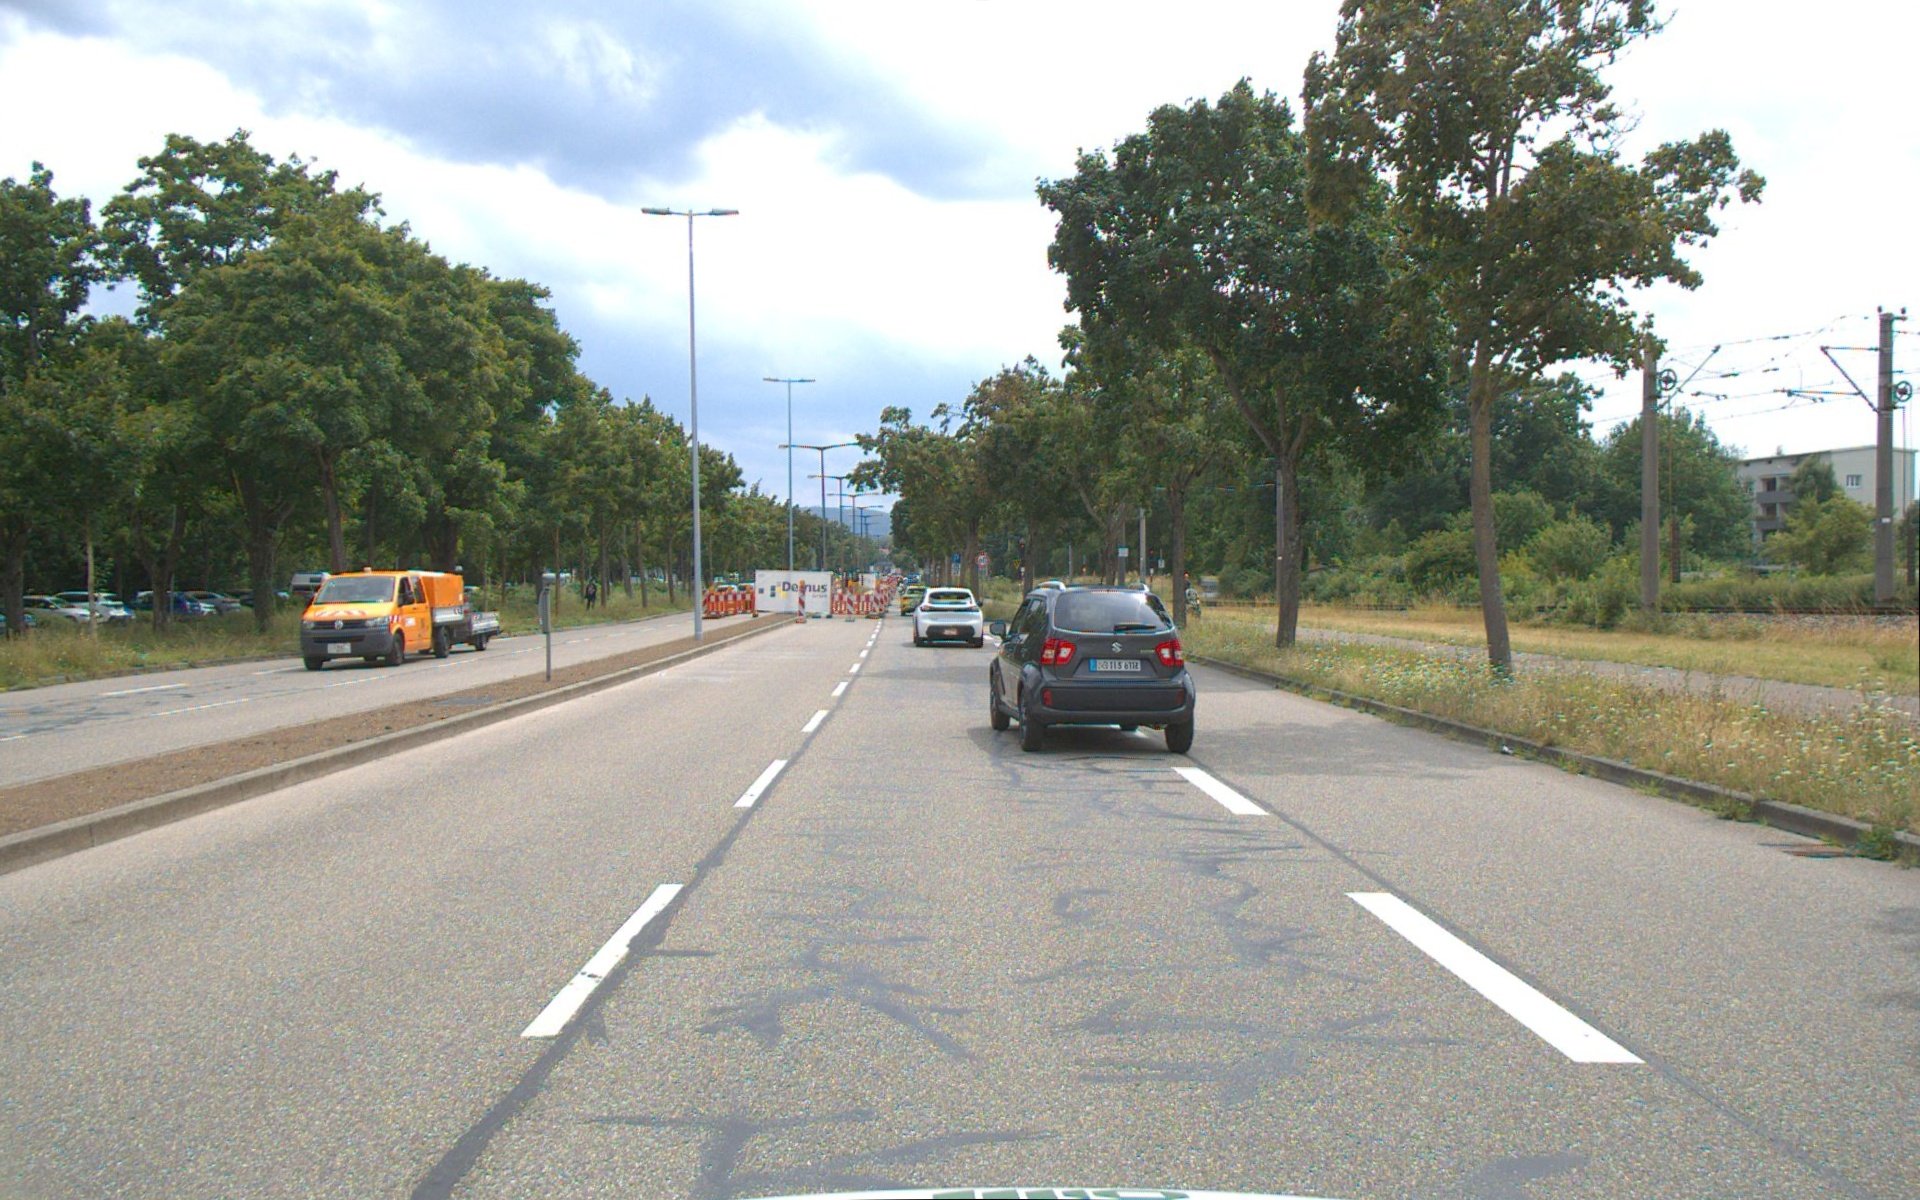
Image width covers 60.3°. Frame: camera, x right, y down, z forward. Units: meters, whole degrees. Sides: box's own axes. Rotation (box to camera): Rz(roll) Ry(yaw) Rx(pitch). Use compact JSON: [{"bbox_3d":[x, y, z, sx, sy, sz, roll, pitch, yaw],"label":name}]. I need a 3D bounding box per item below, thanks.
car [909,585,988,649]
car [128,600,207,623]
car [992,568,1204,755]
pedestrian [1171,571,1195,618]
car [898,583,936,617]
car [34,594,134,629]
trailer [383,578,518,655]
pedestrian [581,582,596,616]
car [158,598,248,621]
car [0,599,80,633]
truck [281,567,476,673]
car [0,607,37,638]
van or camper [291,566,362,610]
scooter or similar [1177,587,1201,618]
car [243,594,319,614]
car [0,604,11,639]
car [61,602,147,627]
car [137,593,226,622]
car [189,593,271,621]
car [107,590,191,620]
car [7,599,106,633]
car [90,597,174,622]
[{"bbox_3d":[-0.334,0.397,42.234,1.732,1.489,3.997,0,1,-5],"label":"car"},{"bbox_3d":[-40.044,0.588,83.611,3.298,1.113,1.441,0,1,0],"label":"car"},{"bbox_3d":[1.299,0.525,17.056,1.669,1.697,3.998,0,1,-3],"label":"car"},{"bbox_3d":[8.379,-0.208,62.187,0.677,1.725,0.933,0,1,-6],"label":"pedestrian"},{"bbox_3d":[-2.087,-0.006,81.245,1.757,1.589,4.000,0,1,0],"label":"car"},{"bbox_3d":[-40.311,0.503,76.148,3.574,1.546,1.883,0,1,1],"label":"car"},{"bbox_3d":[-12.370,0.383,40.397,2.020,1.719,3.895,-2,0,0],"label":"trailer"},{"bbox_3d":[-20.632,-0.072,91.930,0.681,1.870,0.647,-1,1,-23],"label":"pedestrian"},{"bbox_3d":[-40.477,0.507,88.472,3.906,1.182,1.926,0,1,-2],"label":"car"},{"bbox_3d":[-40.032,0.683,71.059,3.574,1.436,1.517,0,1,1],"label":"car"},{"bbox_3d":[-12.323,0.338,35.549,2.046,2.029,6.038,-2,1,-1],"label":"truck"},{"bbox_3d":[-40.135,0.914,68.221,3.226,1.227,1.518,0,1,1],"label":"car"},{"bbox_3d":[-41.617,-0.787,108.703,3.906,2.804,1.926,0,1,-2],"label":"van or camper"},{"bbox_3d":[8.484,0.087,61.249,0.668,1.149,0.933,0,1,-6],"label":"scooter or similar"},{"bbox_3d":[-42.043,0.246,102.458,3.906,1.182,1.926,0,1,-2],"label":"car"},{"bbox_3d":[-40.097,0.882,65.890,3.570,1.384,1.708,0,1,1],"label":"car"},{"bbox_3d":[-40.488,0.680,78.274,3.298,1.132,1.441,0,1,0],"label":"car"},{"bbox_3d":[-40.349,0.386,85.795,3.654,1.433,2.000,0,1,-1],"label":"car"},{"bbox_3d":[-40.649,0.388,92.180,3.695,1.450,1.966,0,1,1],"label":"car"},{"bbox_3d":[-40.258,0.248,82.118,3.477,1.436,1.322,0,1,1],"label":"car"},{"bbox_3d":[-40.122,0.687,73.500,3.574,1.436,1.517,0,1,1],"label":"car"},{"bbox_3d":[-39.886,0.468,79.737,3.298,1.148,1.441,0,1,0],"label":"car"}]
